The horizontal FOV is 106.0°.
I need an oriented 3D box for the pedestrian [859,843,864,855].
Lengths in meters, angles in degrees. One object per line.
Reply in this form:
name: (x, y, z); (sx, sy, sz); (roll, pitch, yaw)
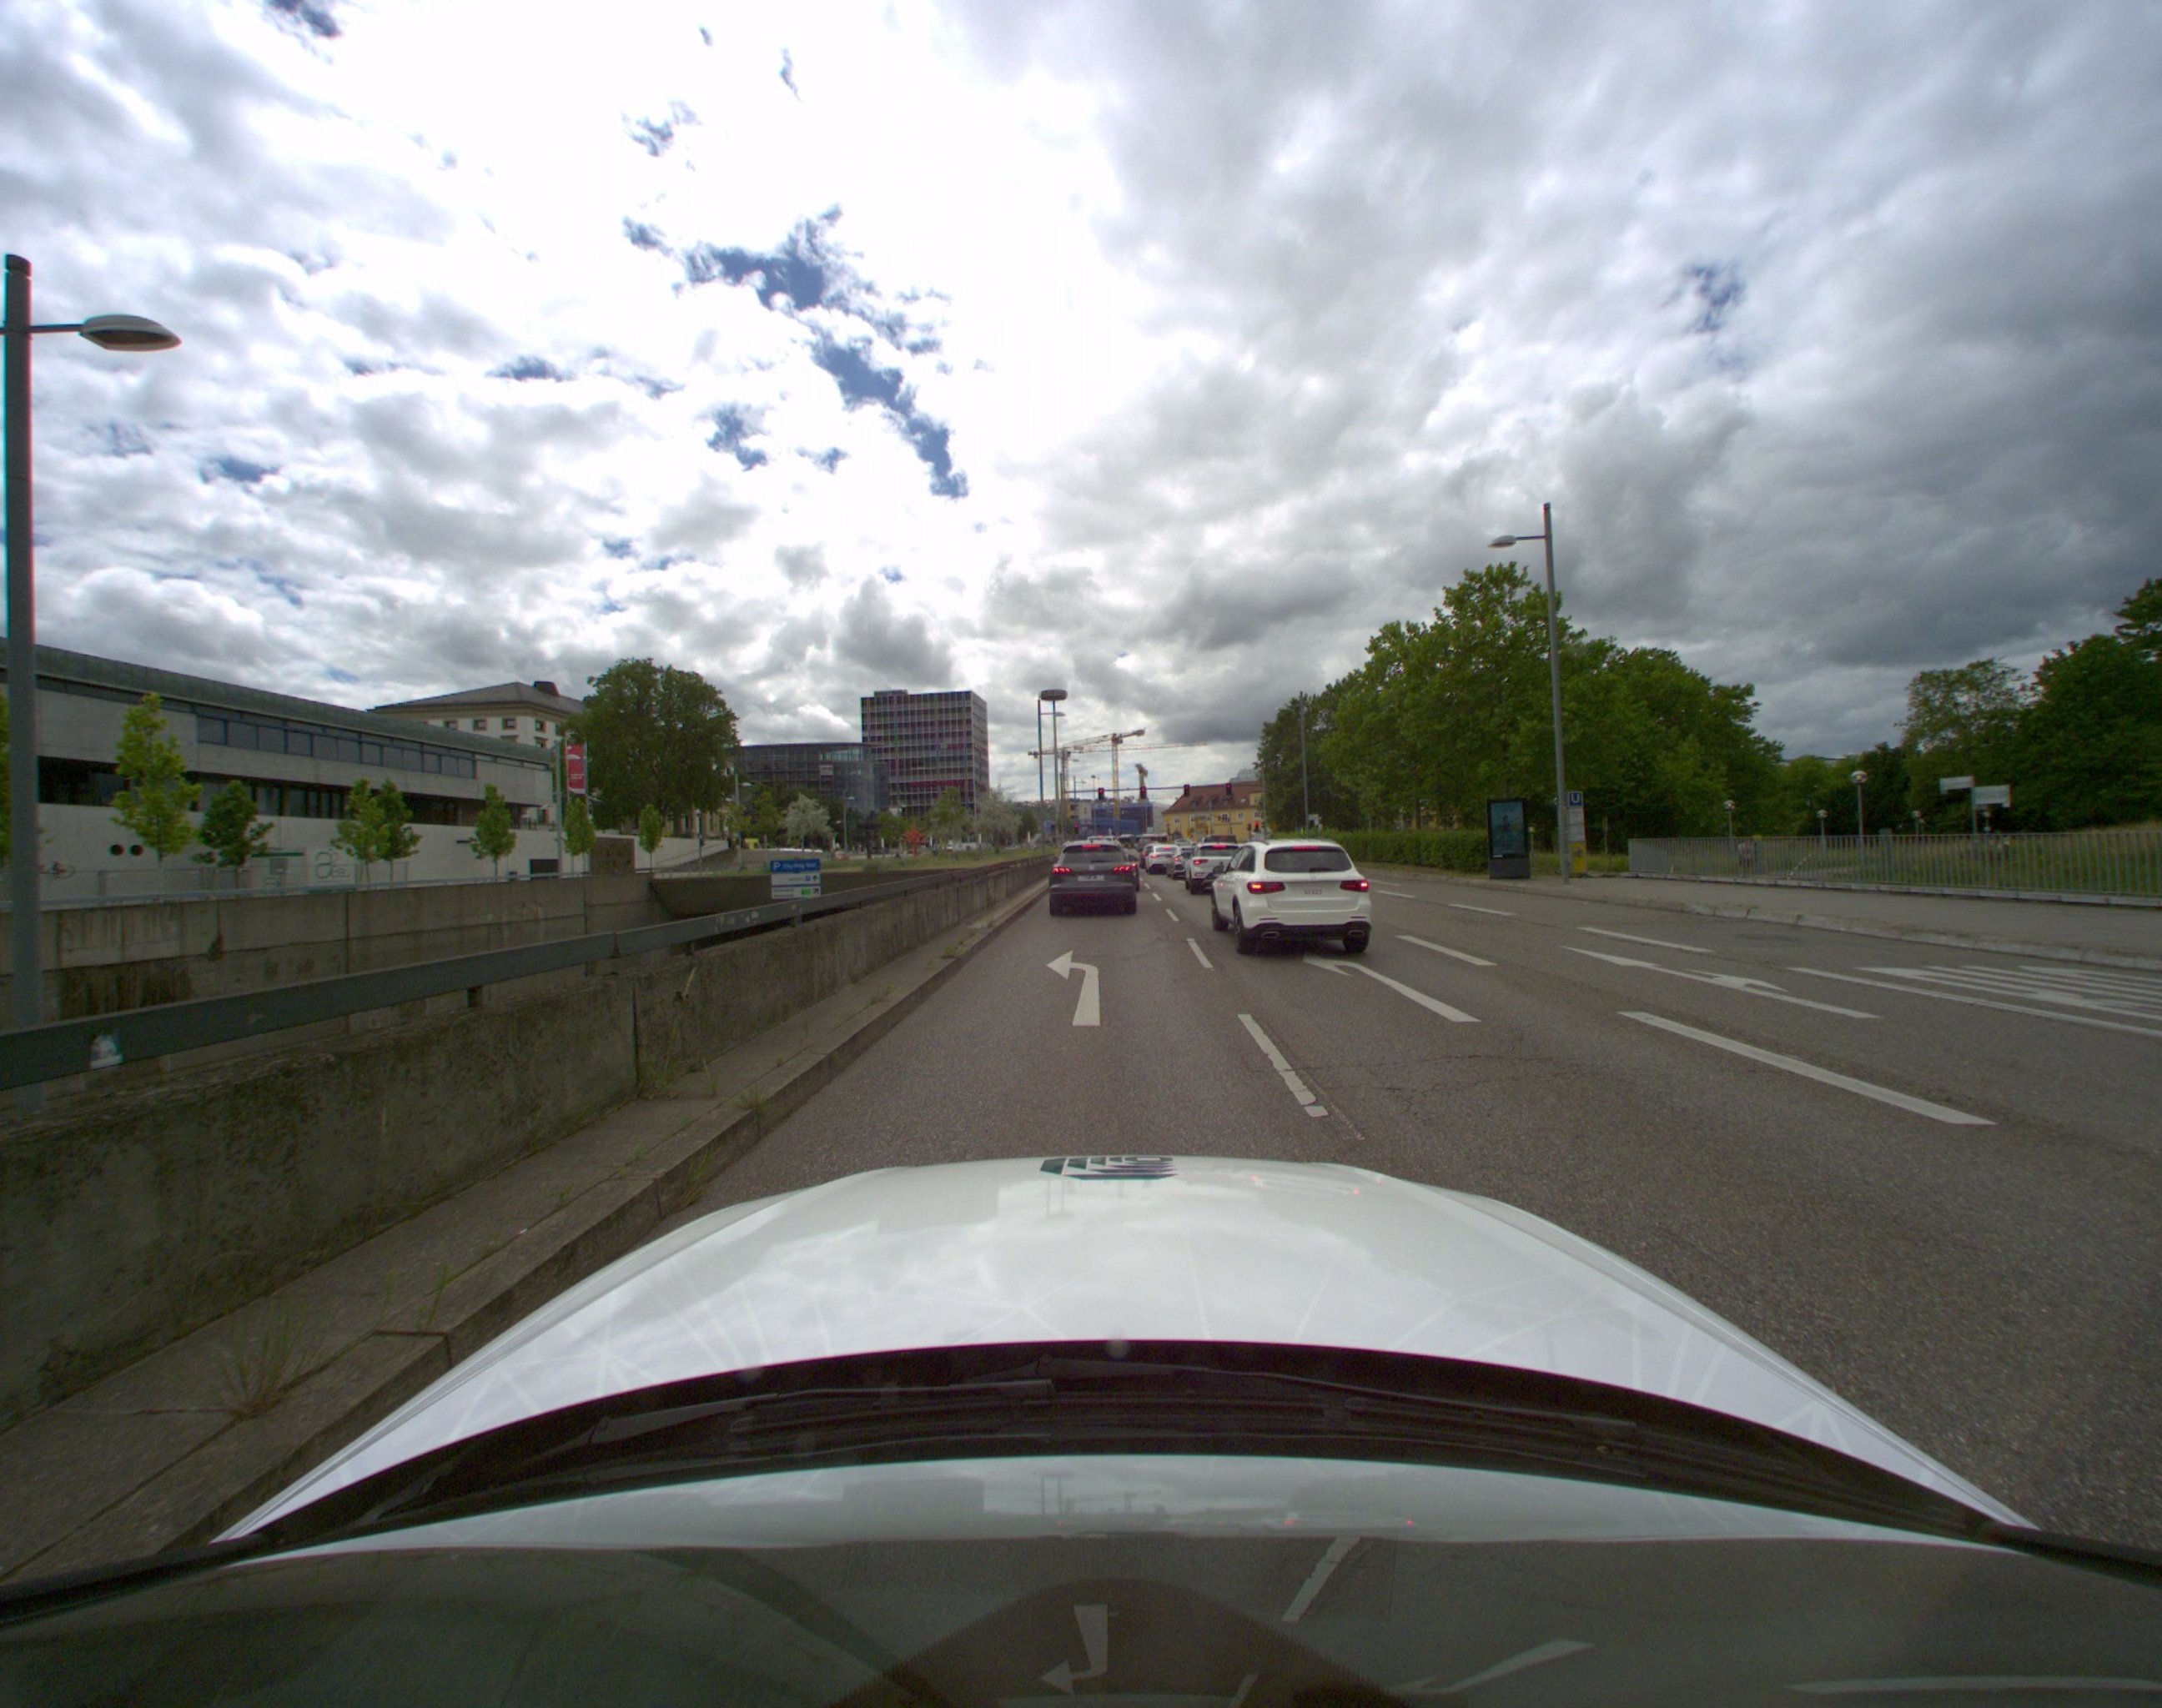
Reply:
pedestrian: (-38.290, -0.886, 142.258); (0.740, 2.013, 0.788); (-3, 2, -18)

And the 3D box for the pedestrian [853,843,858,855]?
pedestrian: (-38.739, -0.897, 140.050); (0.740, 2.013, 1.108); (-3, 2, -18)

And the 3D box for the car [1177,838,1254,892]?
car: (4.199, 0.305, 26.022); (1.918, 1.550, 4.493); (-1, 0, 3)

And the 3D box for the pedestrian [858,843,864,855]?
pedestrian: (-37.961, -0.902, 140.500); (0.740, 2.013, 0.788); (-3, 2, -18)

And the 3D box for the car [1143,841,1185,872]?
car: (4.276, 0.115, 42.405); (1.918, 1.529, 4.493); (-1, 0, 3)

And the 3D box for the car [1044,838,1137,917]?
car: (0.255, 0.474, 19.204); (1.944, 1.651, 4.002); (-1, 1, 1)

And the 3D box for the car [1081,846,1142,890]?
car: (1.013, 0.429, 27.730); (1.944, 1.384, 3.932); (0, 1, 1)

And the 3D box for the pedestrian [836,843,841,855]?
pedestrian: (-41.389, -0.917, 139.043); (0.740, 2.013, 0.788); (-3, 2, -18)

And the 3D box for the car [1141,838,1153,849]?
car: (10.068, -1.624, 124.714); (1.612, 1.627, 4.003); (0, -1, 3)

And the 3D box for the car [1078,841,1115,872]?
car: (0.845, 0.111, 44.549); (1.944, 1.599, 3.932); (0, 1, 1)

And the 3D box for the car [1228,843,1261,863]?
car: (11.844, -0.089, 59.101); (1.751, 1.447, 3.634); (0, 0, 1)

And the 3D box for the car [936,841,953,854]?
car: (-24.358, -1.152, 145.767); (1.985, 2.013, 4.696); (-2, 2, 2)

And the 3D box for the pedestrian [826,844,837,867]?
pedestrian: (-22.427, 0.153, 73.277); (0.729, 2.012, 0.628); (-2, 5, -6)

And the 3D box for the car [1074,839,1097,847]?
car: (0.870, -2.123, 159.152); (4.060, 1.610, 1.841); (0, -1, 37)

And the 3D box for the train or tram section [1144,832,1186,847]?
train or tram section: (17.729, -2.962, 172.133); (8.835, 3.009, 2.613); (0, -1, 37)

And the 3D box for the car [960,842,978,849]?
car: (-27.684, -2.134, 201.669); (3.950, 1.568, 1.848); (0, -1, 27)

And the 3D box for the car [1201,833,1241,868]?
car: (8.504, -0.210, 49.777); (1.902, 2.013, 4.015); (0, 0, 3)

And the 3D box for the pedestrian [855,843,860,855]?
pedestrian: (-38.790, -0.896, 141.179); (0.740, 2.013, 0.788); (-3, 2, -18)

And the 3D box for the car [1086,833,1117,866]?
car: (1.308, -0.300, 52.116); (1.944, 2.018, 3.932); (0, 1, 1)

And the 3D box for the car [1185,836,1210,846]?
car: (23.366, -2.587, 163.371); (4.402, 2.014, 2.013); (0, -1, 35)

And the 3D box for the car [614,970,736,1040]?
car: (-15.897, 5.872, 32.271); (1.987, 1.639, 5.249); (-8, -2, 0)

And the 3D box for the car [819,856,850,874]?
car: (-28.881, 1.236, 95.540); (2.167, 1.854, 4.736); (-2, 1, 0)

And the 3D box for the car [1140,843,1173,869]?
car: (4.700, 0.092, 51.222); (1.918, 1.529, 4.051); (-1, 0, 3)

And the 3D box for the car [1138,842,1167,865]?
car: (5.009, -0.037, 57.507); (1.918, 1.529, 4.051); (-1, 0, 3)

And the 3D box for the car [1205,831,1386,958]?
car: (3.201, 0.519, 13.113); (1.918, 1.653, 4.493); (-1, 0, 3)

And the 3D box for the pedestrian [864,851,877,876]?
pedestrian: (-17.809, 0.795, 68.886); (0.794, 2.013, 0.830); (-3, 1, -26)

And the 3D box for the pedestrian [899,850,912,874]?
pedestrian: (-14.862, 0.666, 68.847); (0.857, 2.013, 0.629); (-2, 2, 1)

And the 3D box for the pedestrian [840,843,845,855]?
pedestrian: (-40.495, -0.922, 138.477); (0.740, 2.013, 0.788); (-3, 2, -18)

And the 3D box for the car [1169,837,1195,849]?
car: (17.421, -1.856, 140.689); (3.948, 2.014, 2.013); (0, -1, 35)

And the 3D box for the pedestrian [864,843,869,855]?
pedestrian: (-37.386, -0.879, 141.875); (0.740, 2.013, 1.108); (-3, 2, -18)

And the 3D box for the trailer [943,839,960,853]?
trailer: (-24.002, -1.490, 150.924); (2.030, 2.604, 5.511); (0, 1, 2)

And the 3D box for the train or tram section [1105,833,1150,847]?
train or tram section: (10.109, -3.000, 177.910); (10.294, 3.009, 2.613); (0, -1, 37)

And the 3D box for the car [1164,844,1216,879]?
car: (4.698, 0.297, 35.666); (1.918, 1.432, 4.493); (-1, 0, 3)

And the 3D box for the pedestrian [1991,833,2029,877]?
pedestrian: (34.367, 0.030, 30.144); (0.650, 1.601, 0.686); (0, -1, 17)
